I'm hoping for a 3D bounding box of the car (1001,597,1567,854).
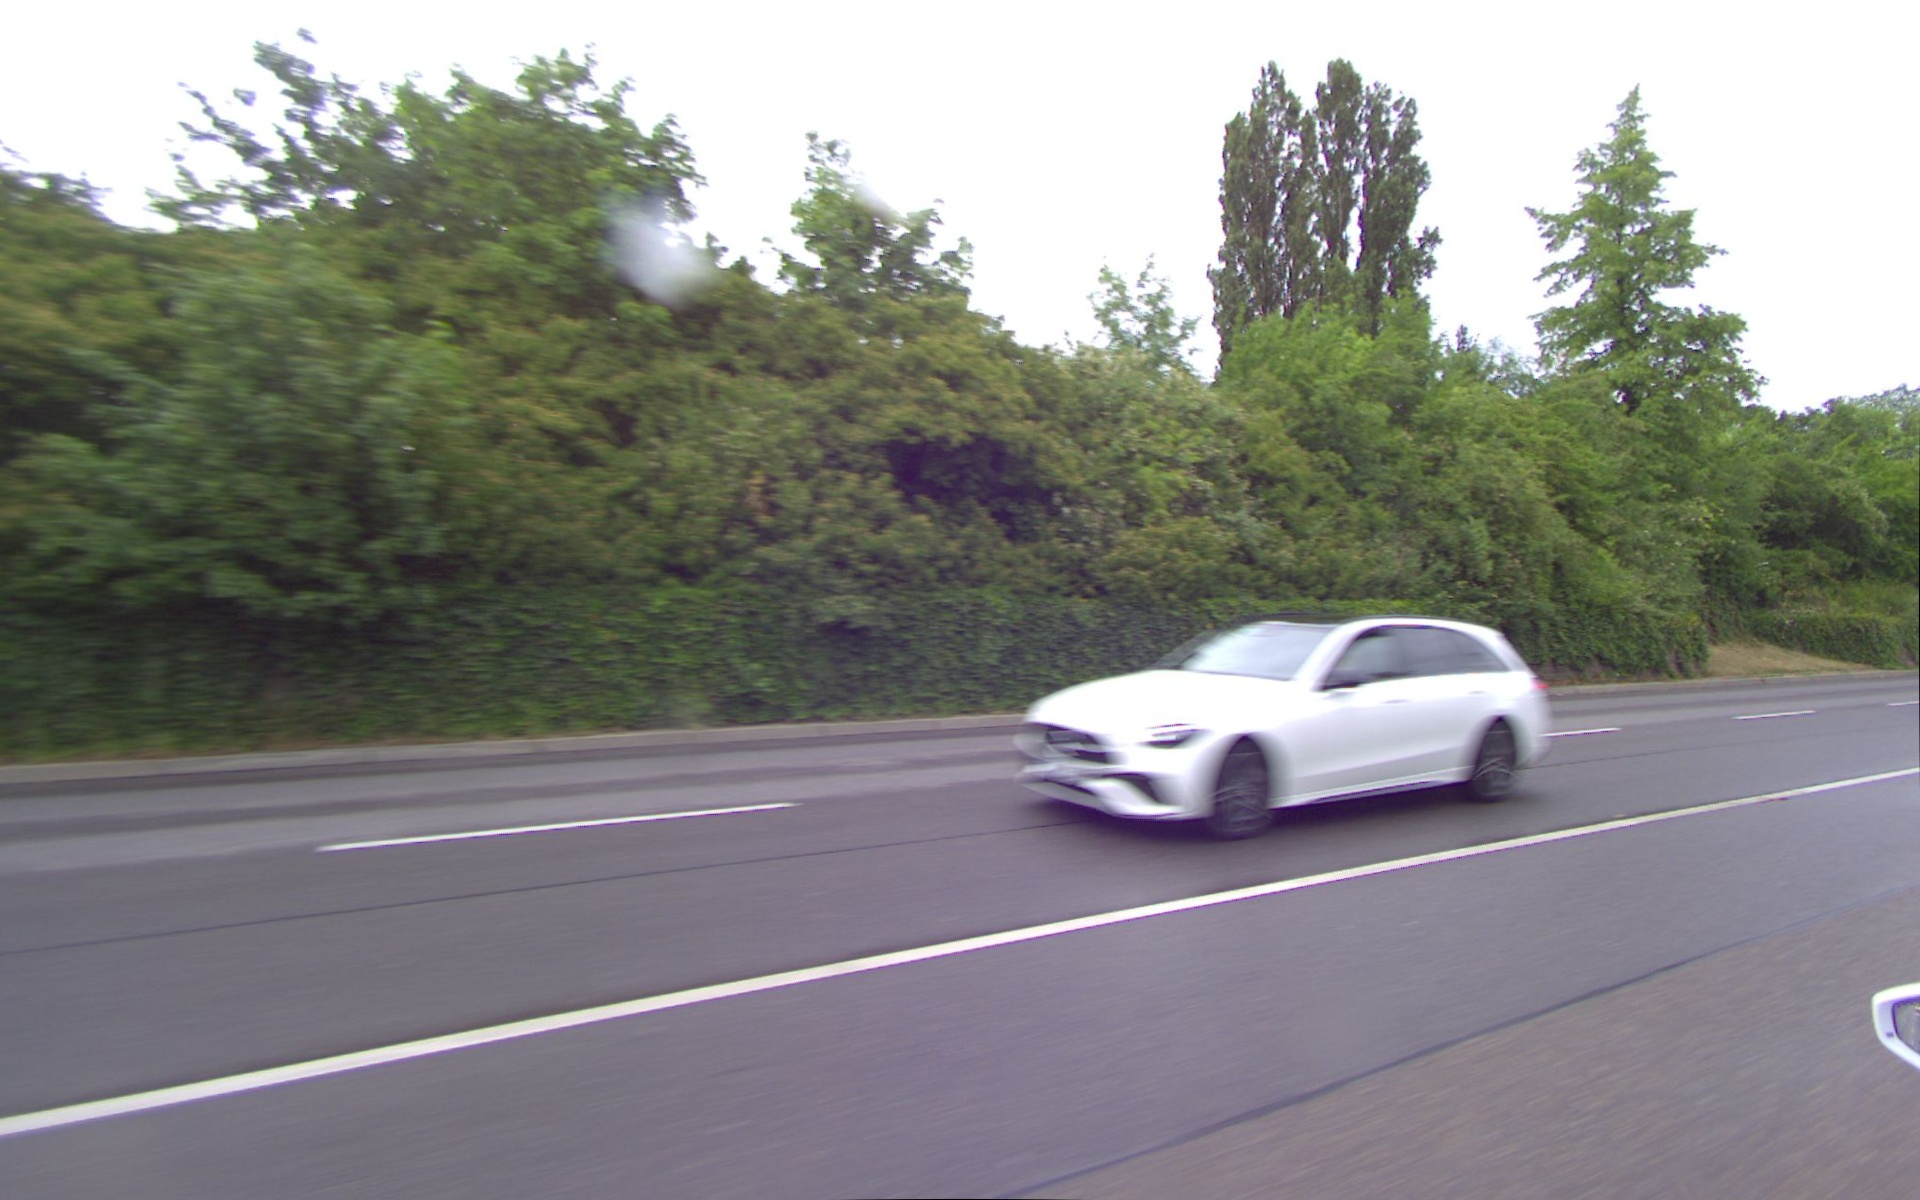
[{"bbox_3d":[2.667,0.794,7.936,4.463,1.525,1.706,1,1,-30],"label":"car"}]
